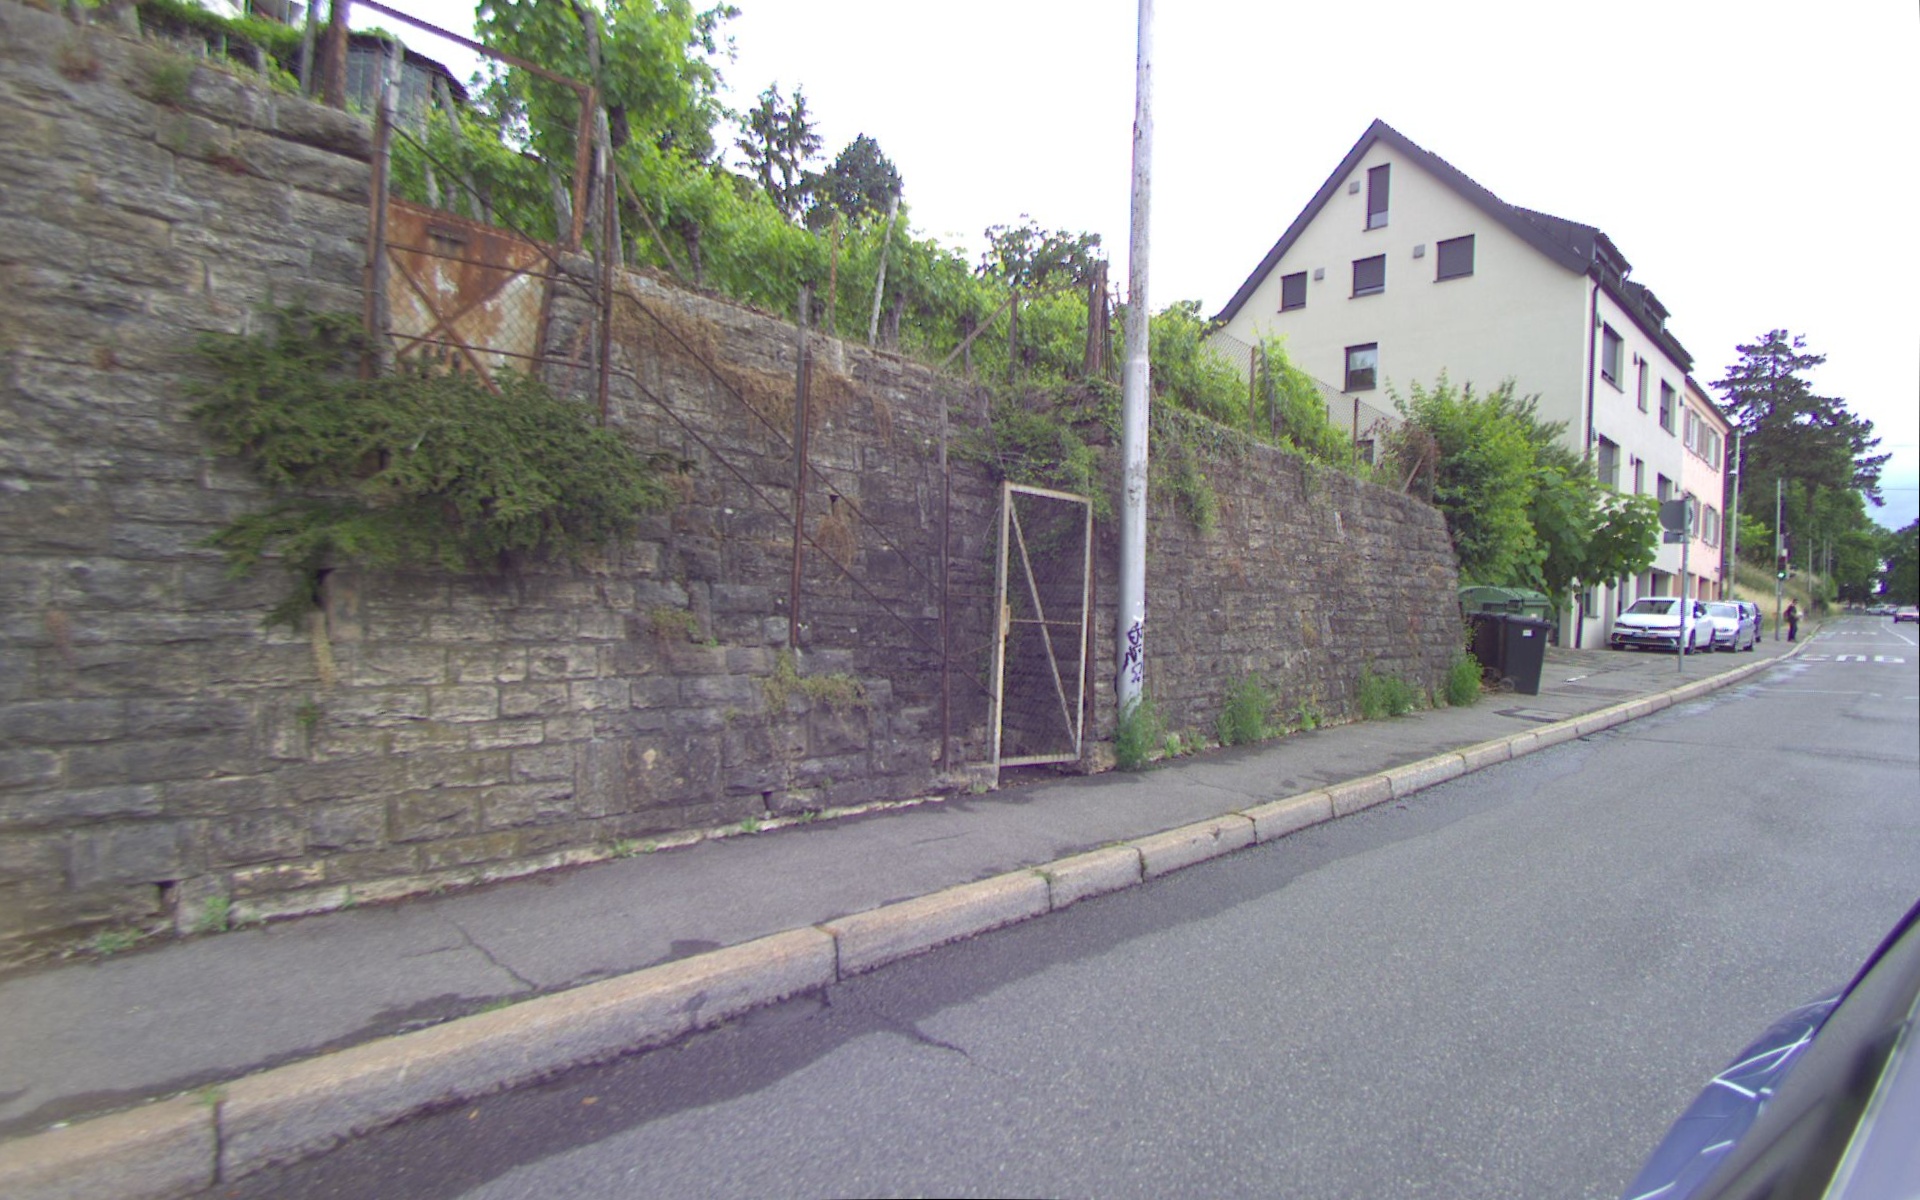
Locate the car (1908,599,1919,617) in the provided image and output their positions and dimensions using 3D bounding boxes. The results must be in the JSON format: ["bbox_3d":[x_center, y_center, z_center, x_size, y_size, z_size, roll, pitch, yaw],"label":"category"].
[{"bbox_3d":[81.642,0.706,85.811,3.934,1.456,1.643,2,0,-45],"label":"car"}]

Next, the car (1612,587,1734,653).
[{"bbox_3d":[18.675,0.476,26.449,3.987,1.595,1.796,0,0,-43],"label":"car"}]

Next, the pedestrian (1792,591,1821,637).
[{"bbox_3d":[32.515,0.543,38.878,0.683,1.733,0.735,1,0,-39],"label":"pedestrian"}]

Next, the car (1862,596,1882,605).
[{"bbox_3d":[147.127,0.067,163.296,3.932,1.482,1.996,0,1,-42],"label":"car"}]

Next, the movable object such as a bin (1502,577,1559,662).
[{"bbox_3d":[10.922,0.345,19.369,0.750,1.561,1.049,1,1,41],"label":"movable object such as a bin"}]

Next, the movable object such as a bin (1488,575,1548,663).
[{"bbox_3d":[10.217,0.329,18.535,0.750,1.565,1.049,1,0,41],"label":"movable object such as a bin"}]

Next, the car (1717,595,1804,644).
[{"bbox_3d":[28.094,0.645,35.468,4.180,1.595,1.904,0,0,-45],"label":"car"}]

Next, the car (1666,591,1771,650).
[{"bbox_3d":[22.158,0.545,29.515,4.177,1.595,1.729,0,0,-43],"label":"car"}]

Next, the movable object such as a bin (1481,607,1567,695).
[{"bbox_3d":[7.816,0.680,14.027,0.860,1.141,0.810,1,0,-43],"label":"movable object such as a bin"}]
